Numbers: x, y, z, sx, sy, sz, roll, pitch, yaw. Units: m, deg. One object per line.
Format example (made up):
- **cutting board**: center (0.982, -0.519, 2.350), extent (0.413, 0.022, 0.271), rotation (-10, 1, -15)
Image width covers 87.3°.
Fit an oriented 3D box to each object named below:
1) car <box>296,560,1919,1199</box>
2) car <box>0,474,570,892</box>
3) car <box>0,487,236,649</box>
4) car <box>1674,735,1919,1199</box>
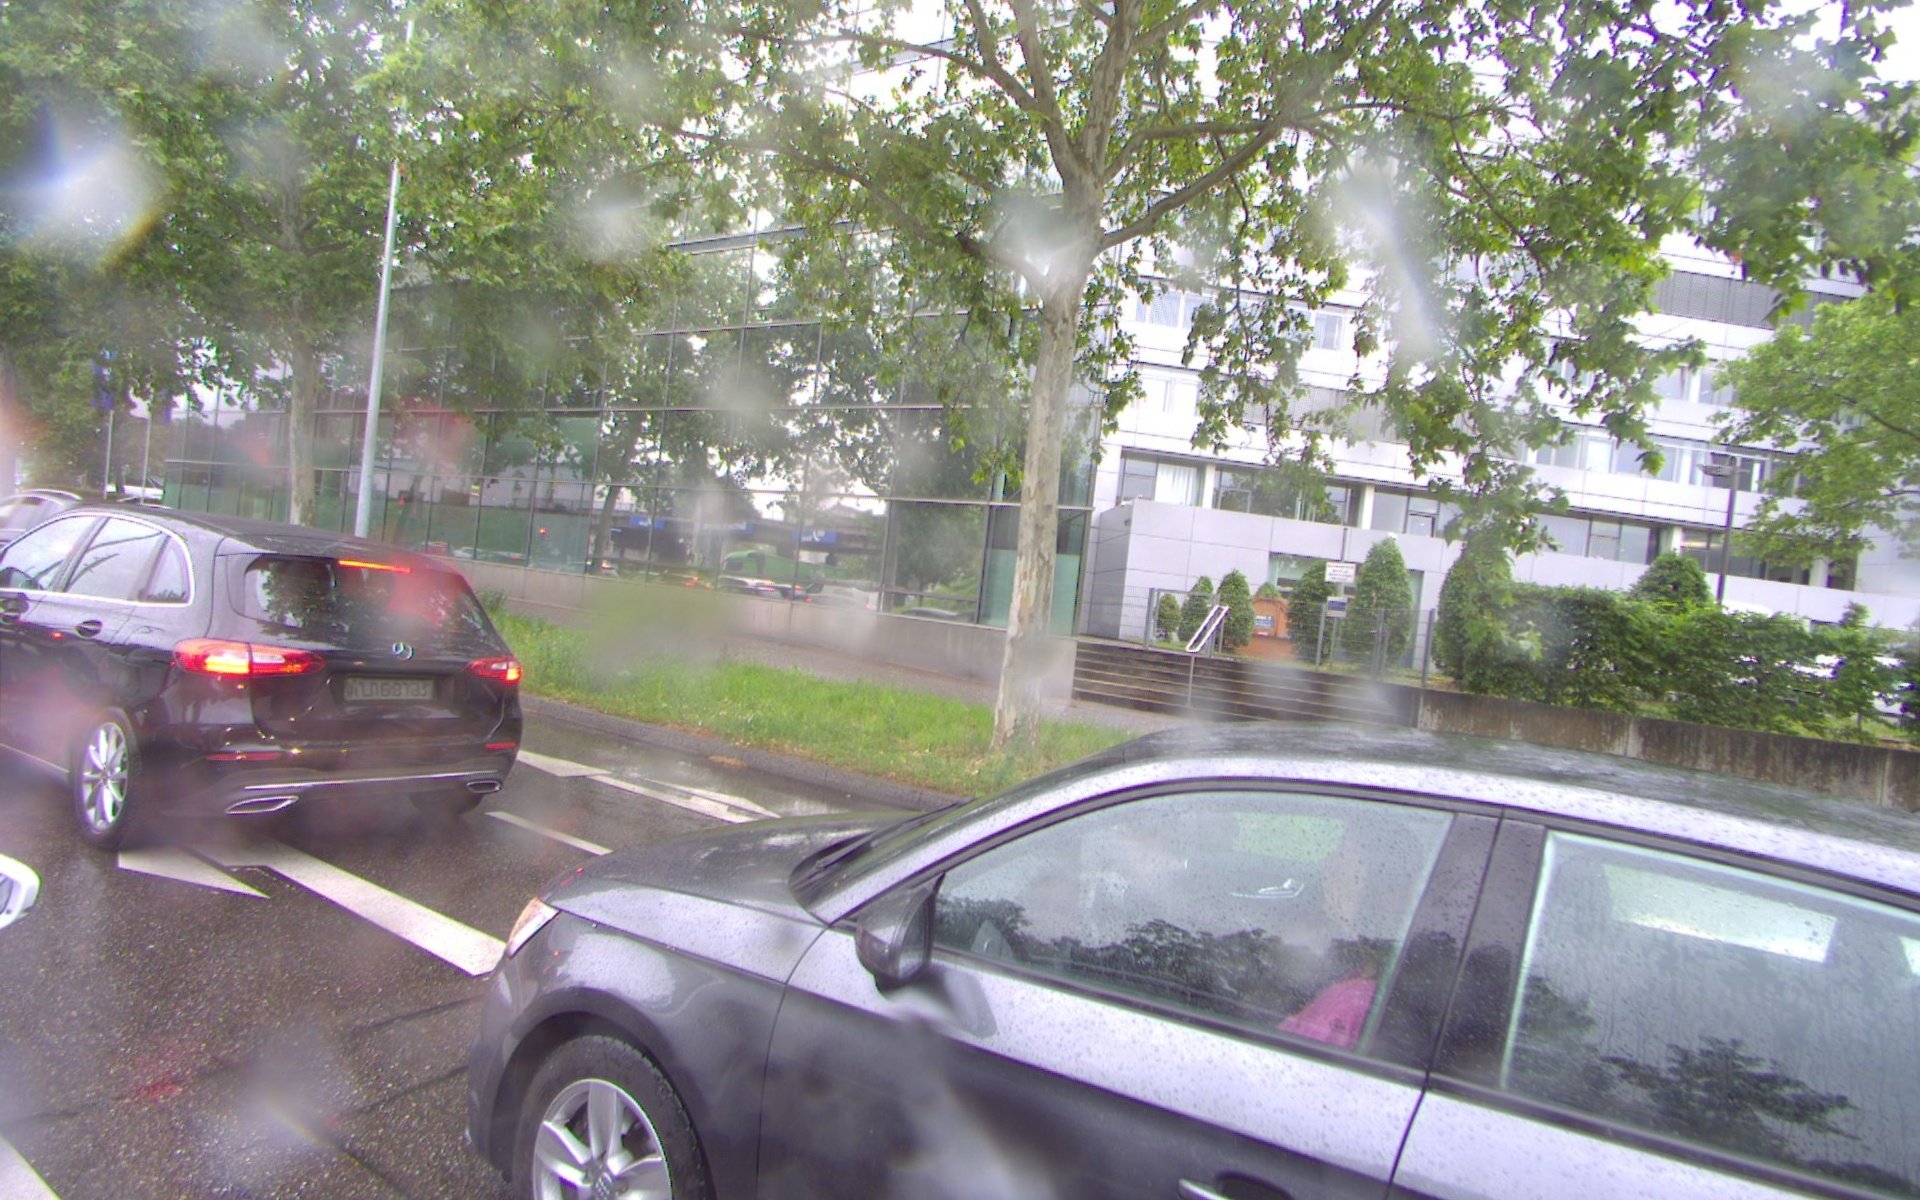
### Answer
- **car**: center (0.707, 0.911, 2.247), extent (3.932, 1.469, 1.998), rotation (6, -2, 30)
- **car**: center (-4.331, 0.239, 5.738), extent (3.932, 1.568, 1.712), rotation (7, 0, 30)
- **car**: center (-11.944, -0.490, 13.592), extent (4.120, 1.746, 1.860), rotation (6, -1, 30)
- **car**: center (4.987, 1.509, 3.078), extent (4.314, 1.447, 1.805), rotation (6, -1, 32)
